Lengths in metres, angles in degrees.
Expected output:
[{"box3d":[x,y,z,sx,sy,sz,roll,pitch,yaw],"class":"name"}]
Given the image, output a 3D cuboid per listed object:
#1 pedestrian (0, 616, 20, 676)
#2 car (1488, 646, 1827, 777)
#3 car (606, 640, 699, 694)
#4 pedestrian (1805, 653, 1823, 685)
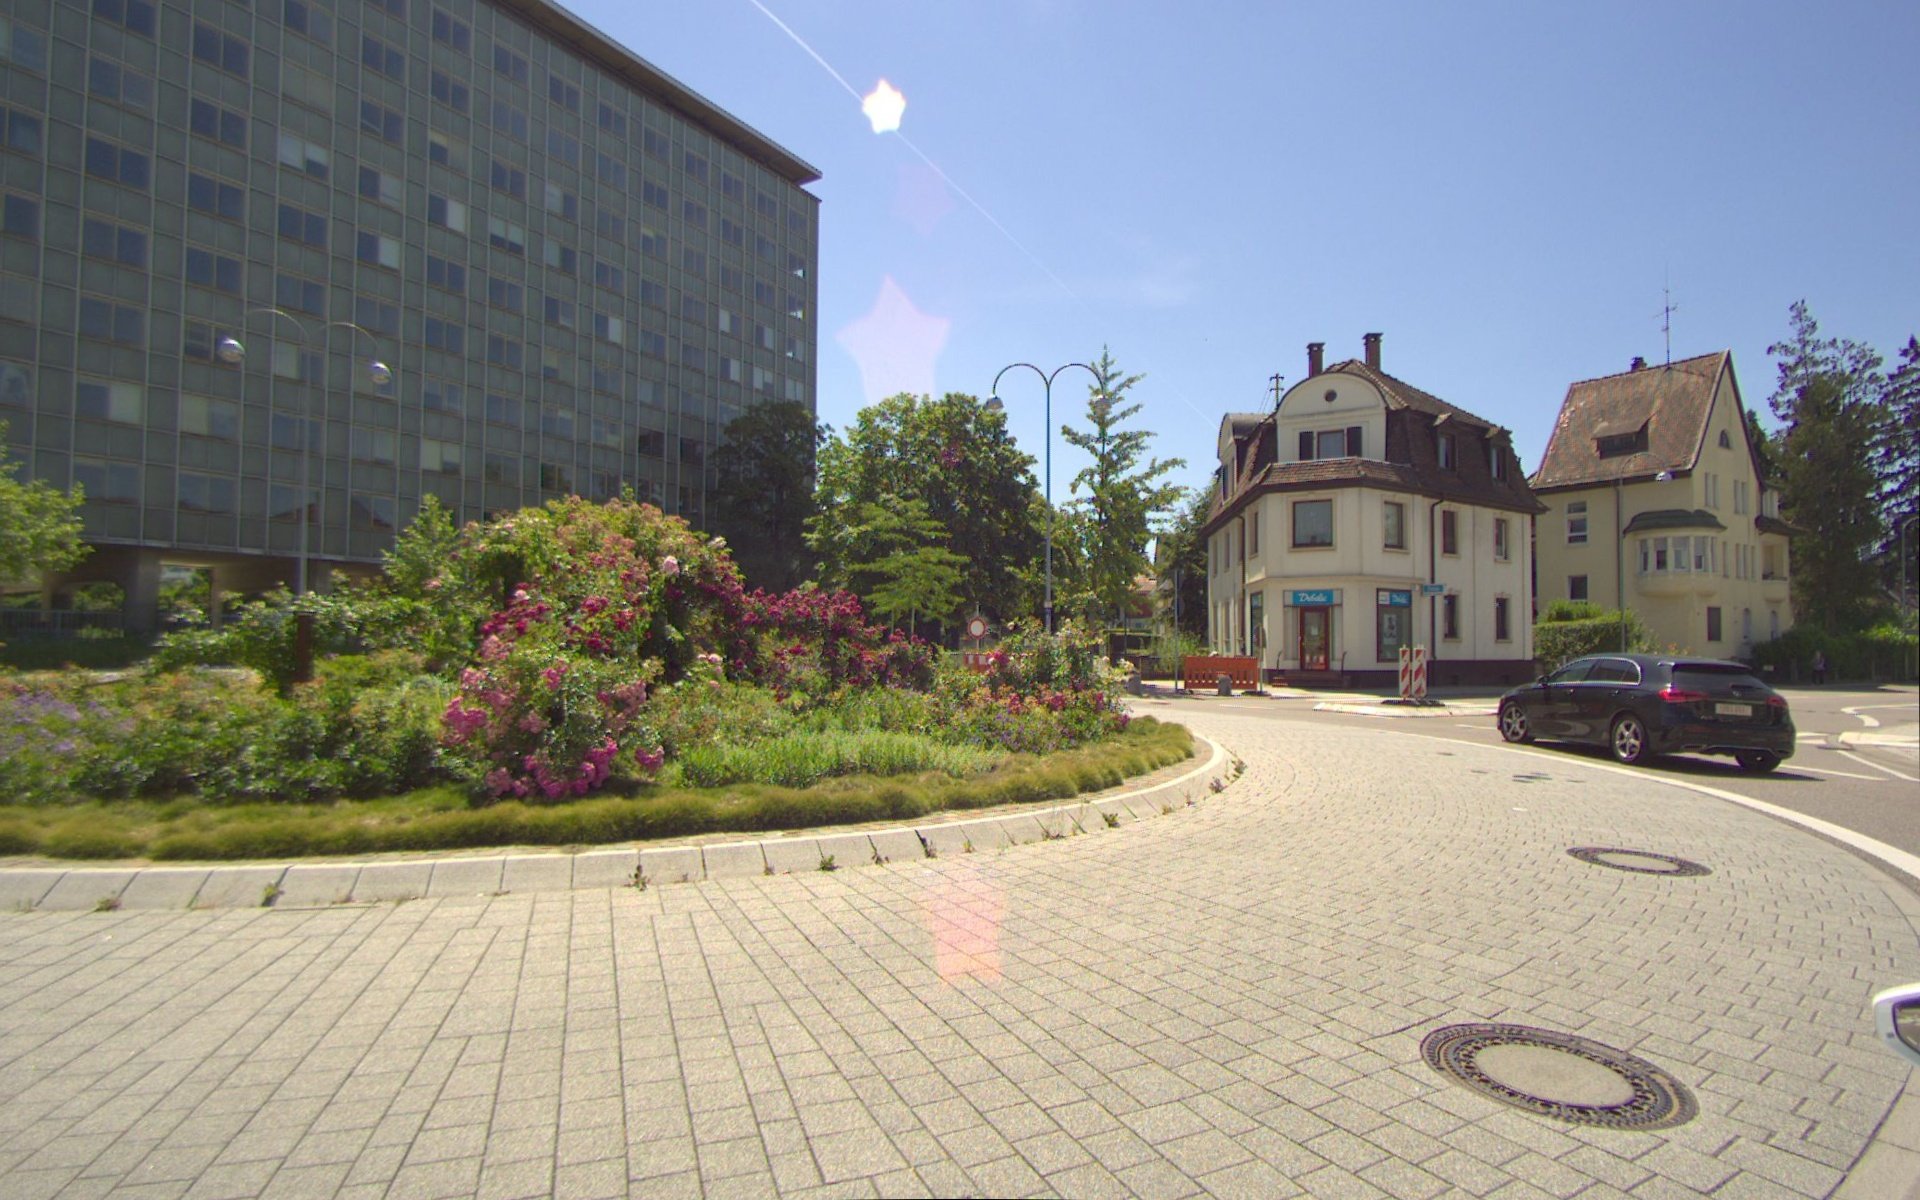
[{"box3d":[-26.681,1.252,27.484,1.271,1.605,0.938,3,-3,-39],"class":"pedestrian"},{"box3d":[9.298,1.413,13.868,1.921,1.446,4.001,2,-2,1],"class":"car"},{"box3d":[-10.009,2.236,32.941,1.755,1.617,3.923,-2,-5,1],"class":"car"},{"box3d":[41.351,3.323,48.653,0.468,1.528,0.520,2,-3,-32],"class":"pedestrian"}]
